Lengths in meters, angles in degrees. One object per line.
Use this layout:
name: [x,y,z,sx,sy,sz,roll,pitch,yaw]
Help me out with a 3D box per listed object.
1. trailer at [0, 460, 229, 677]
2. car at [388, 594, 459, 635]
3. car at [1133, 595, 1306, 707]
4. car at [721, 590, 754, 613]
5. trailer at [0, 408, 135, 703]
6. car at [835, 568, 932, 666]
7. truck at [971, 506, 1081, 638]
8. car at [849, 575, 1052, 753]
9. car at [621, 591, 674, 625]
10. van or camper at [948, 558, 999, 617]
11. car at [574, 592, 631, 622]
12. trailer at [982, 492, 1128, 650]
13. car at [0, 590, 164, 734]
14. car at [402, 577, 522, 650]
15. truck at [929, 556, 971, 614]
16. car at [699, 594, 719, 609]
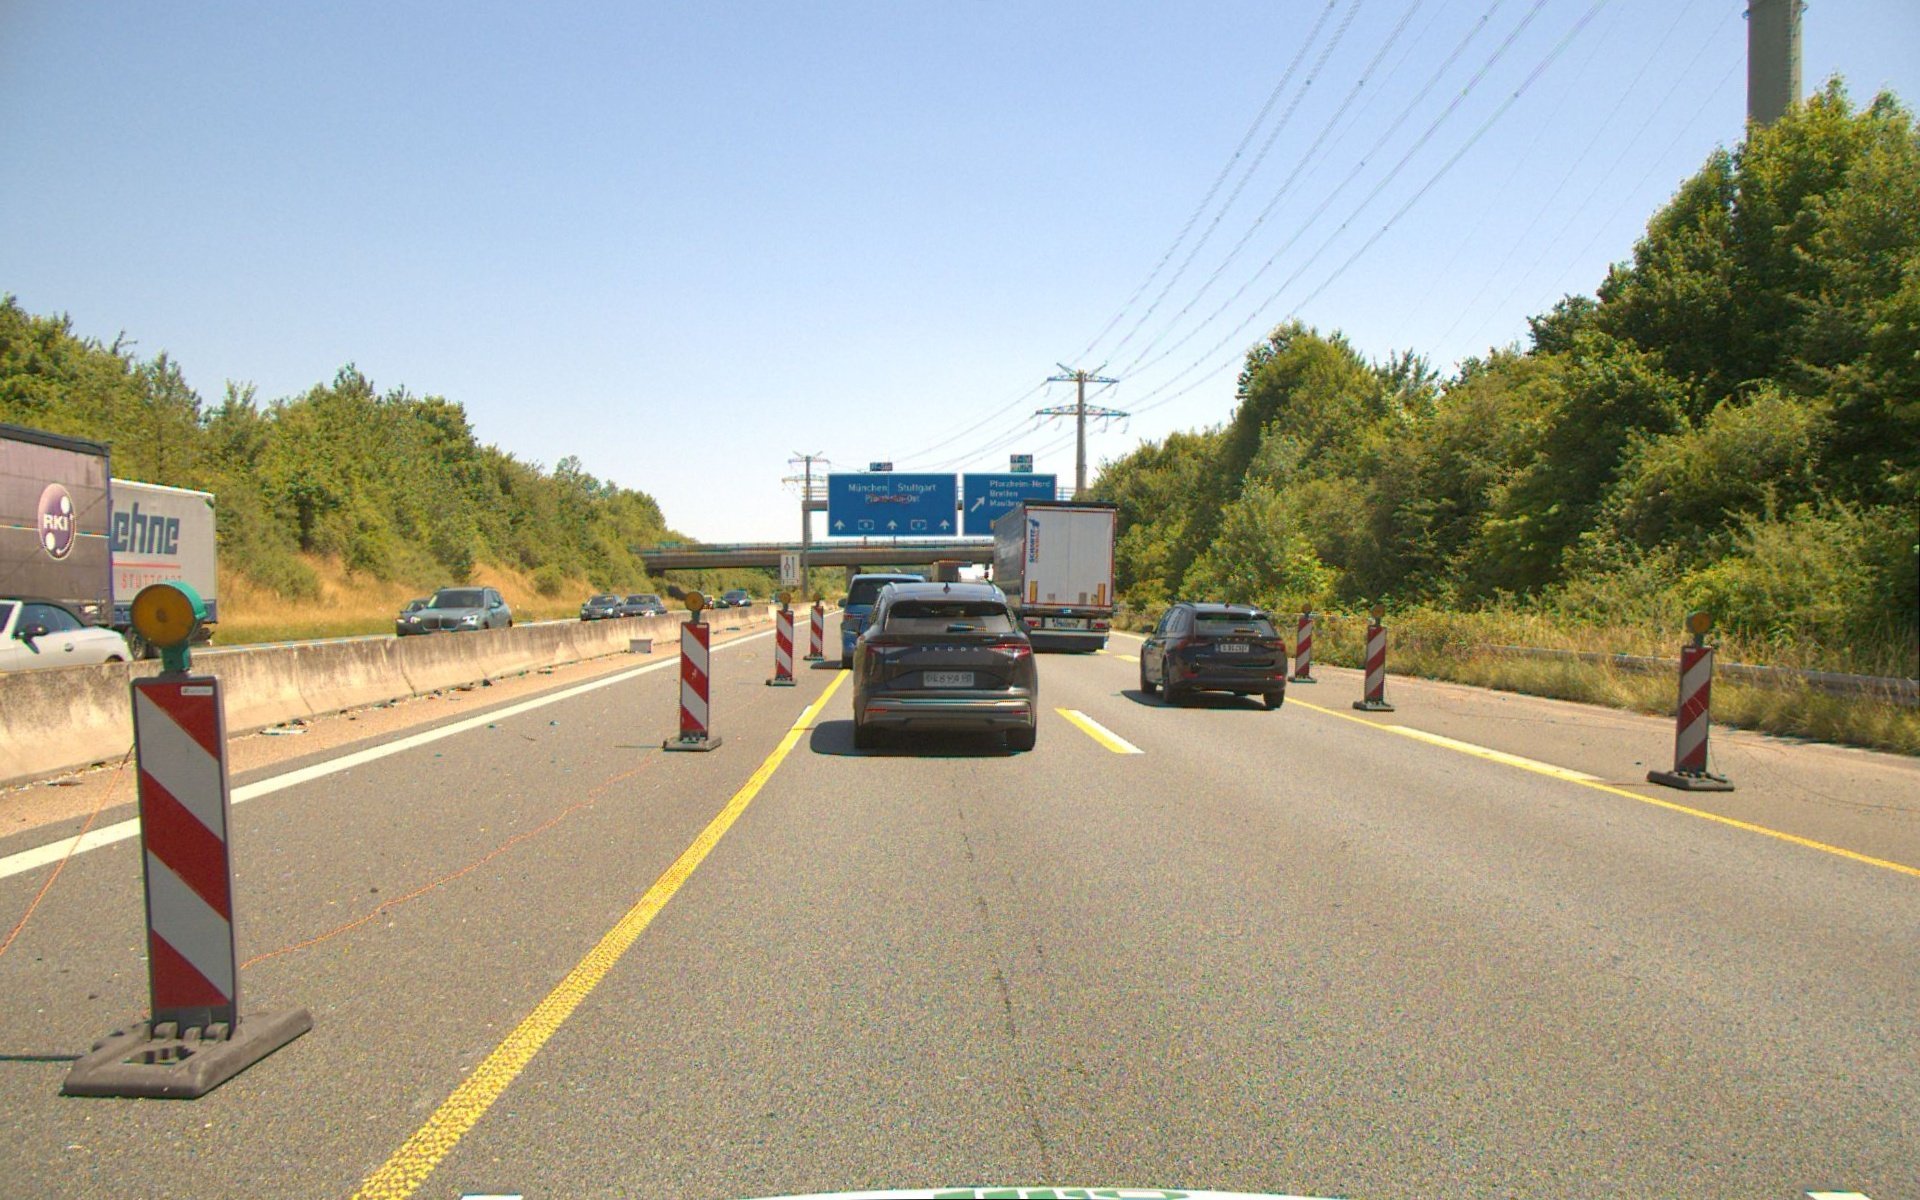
trailer: [-19.865,-0.579,35.443,2.894,4.132,13.629,-2,0,-3]
car: [-19.235,0.492,59.468,1.473,1.421,4.086,0,0,-4]
car: [3.847,0.708,25.274,1.743,1.515,4.462,2,0,-2]
car: [-15.201,0.096,113.282,1.812,1.486,4.486,0,0,-3]
trailer: [-15.280,-0.616,21.128,3.097,4.253,13.678,0,0,-2]
car: [-1.619,0.360,34.688,1.858,1.874,4.439,2,-1,-3]
truck: [2.115,-0.905,56.529,2.964,4.158,7.790,1,0,-3]
car: [-0.197,0.566,17.421,1.858,1.620,4.440,1,1,-3]
car: [-13.802,0.321,73.200,1.583,1.467,3.989,0,0,-1]
van or camper: [0.711,-0.674,92.516,2.534,3.019,6.083,4,0,-1]
car: [-18.407,0.338,85.309,1.953,1.486,4.586,0,0,-1]
trailer: [2.596,-0.802,49.525,3.004,4.113,11.480,1,0,-3]
car: [-10.843,0.645,18.425,1.726,1.497,4.633,0,0,-1]
car: [-12.595,0.307,42.075,1.804,1.744,4.394,0,0,-1]
truck: [-0.836,-1.152,129.782,3.015,4.219,13.051,2,0,-1]
car: [-24.820,0.171,163.657,1.542,1.490,3.777,0,0,-2]
